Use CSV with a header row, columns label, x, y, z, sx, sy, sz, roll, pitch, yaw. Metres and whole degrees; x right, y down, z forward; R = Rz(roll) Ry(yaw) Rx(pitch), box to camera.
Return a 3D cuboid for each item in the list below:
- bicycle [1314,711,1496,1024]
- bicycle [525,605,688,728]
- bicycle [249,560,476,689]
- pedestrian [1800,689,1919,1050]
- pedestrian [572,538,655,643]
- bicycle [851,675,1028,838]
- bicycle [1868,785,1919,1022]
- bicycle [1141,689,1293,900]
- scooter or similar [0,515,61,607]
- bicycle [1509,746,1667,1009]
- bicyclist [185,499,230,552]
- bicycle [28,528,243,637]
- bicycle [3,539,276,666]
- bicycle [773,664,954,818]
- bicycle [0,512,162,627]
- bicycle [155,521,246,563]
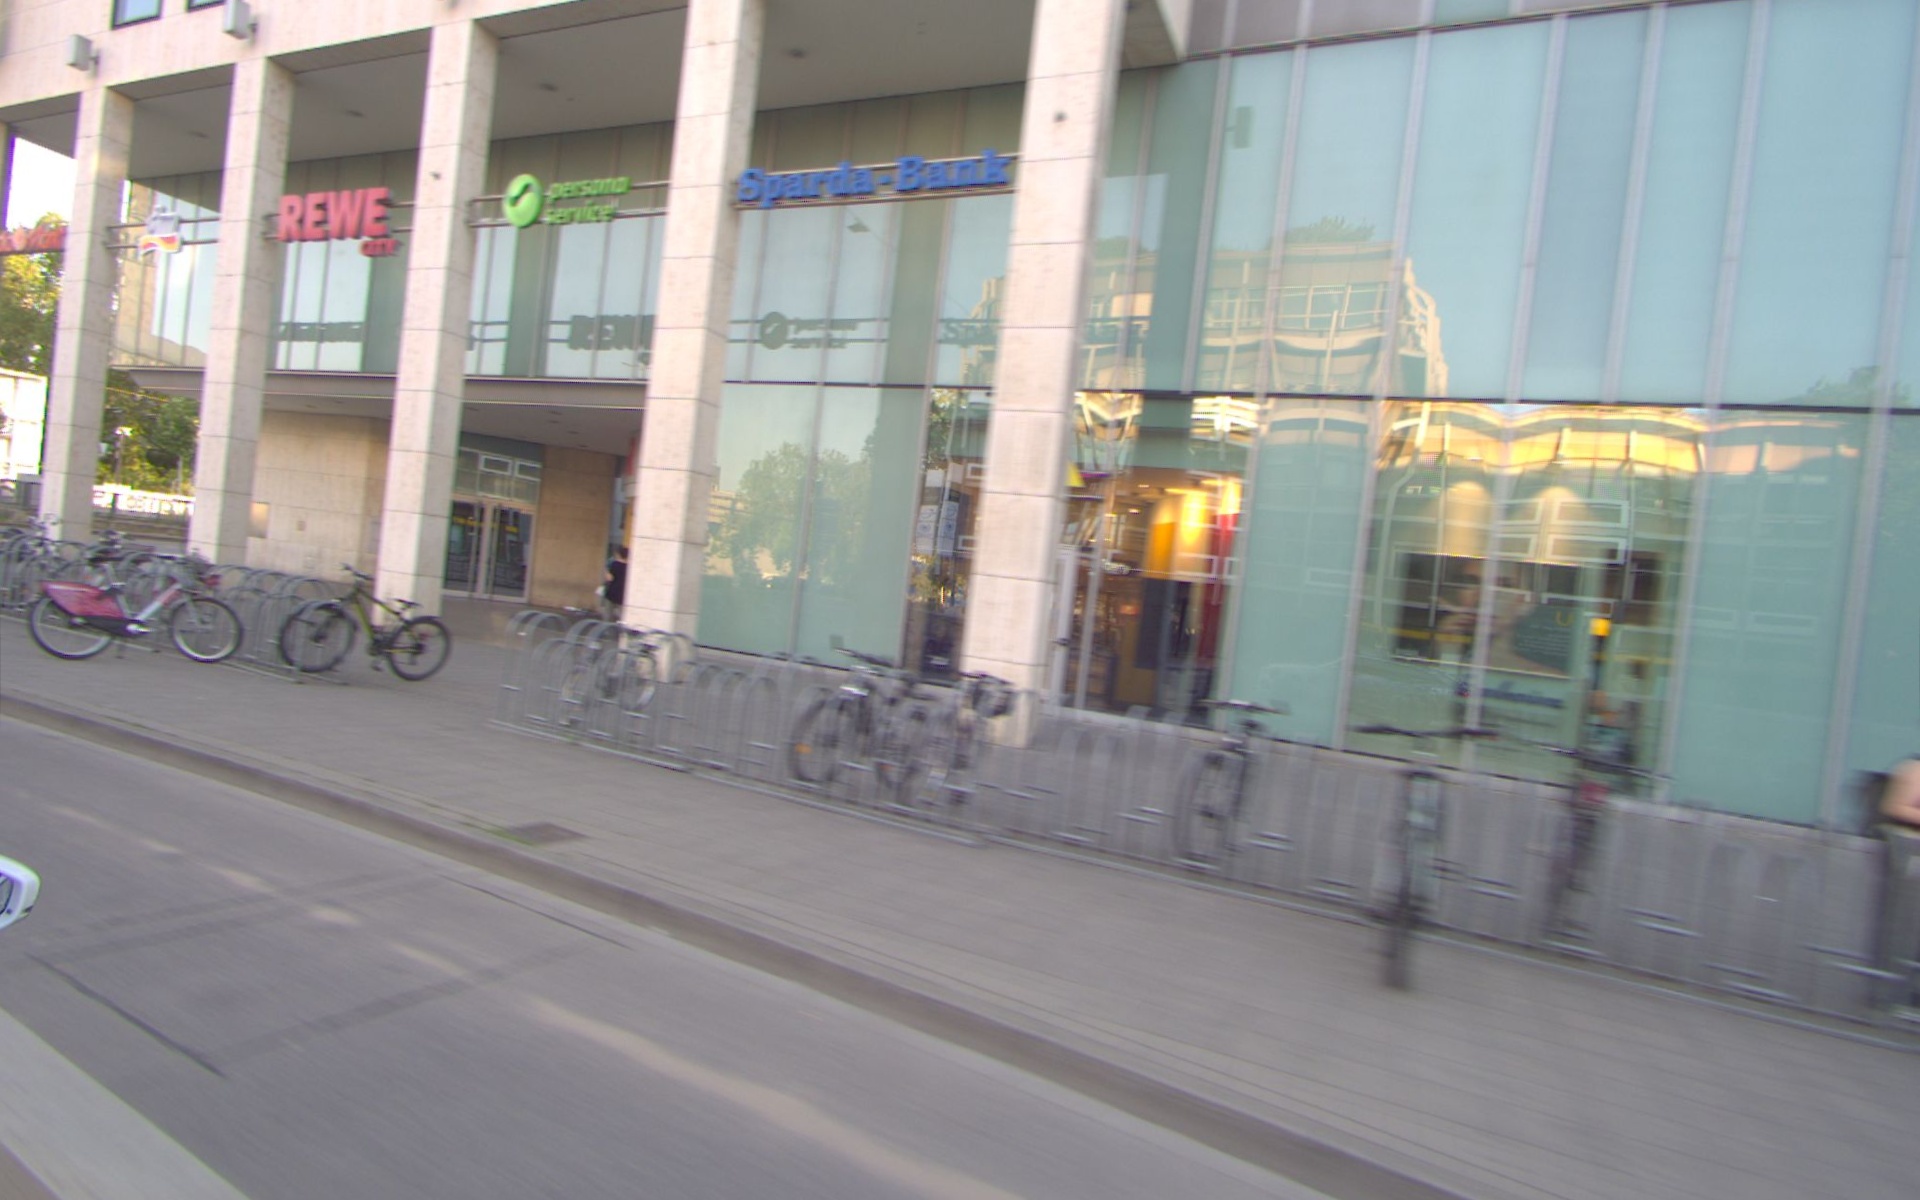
label,x,y,z,sx,sy,sz,roll,pitch,yaw
bicycle,2.342,1.213,5.148,0.561,1.143,1.991,7,0,29
bicycle,-3.417,0.617,9.893,0.589,1.036,1.709,7,0,13
bicycle,-6.050,0.290,10.303,0.590,1.112,1.820,7,-2,31
pedestrian,5.168,1.410,5.333,0.806,1.757,0.836,7,1,32
pedestrian,-6.375,-0.167,18.541,0.972,1.800,0.862,7,3,23
bicycle,-0.088,1.076,7.383,0.507,0.948,1.813,7,0,23
bicycle,5.389,1.692,5.167,0.507,1.193,1.991,7,0,29
bicycle,1.801,1.232,6.850,0.507,1.143,1.768,7,0,27
scooter or similar,-13.110,-0.567,13.531,0.661,1.174,1.279,7,0,23
bicycle,3.615,1.500,5.918,0.546,1.142,1.993,7,-2,29
bicyclist,-24.333,-2.400,32.538,0.642,1.550,0.881,7,1,25
bicycle,-9.916,-0.174,12.187,0.560,1.127,1.875,7,0,27
bicycle,-7.808,0.068,9.687,0.561,1.061,1.901,7,0,29
bicycle,-0.665,0.996,7.610,0.507,0.948,1.743,7,0,23
bicycle,-11.520,-0.387,12.852,0.661,1.274,1.874,7,-2,23
bicycle,-24.449,-1.858,32.434,0.642,1.075,2.247,7,0,25
